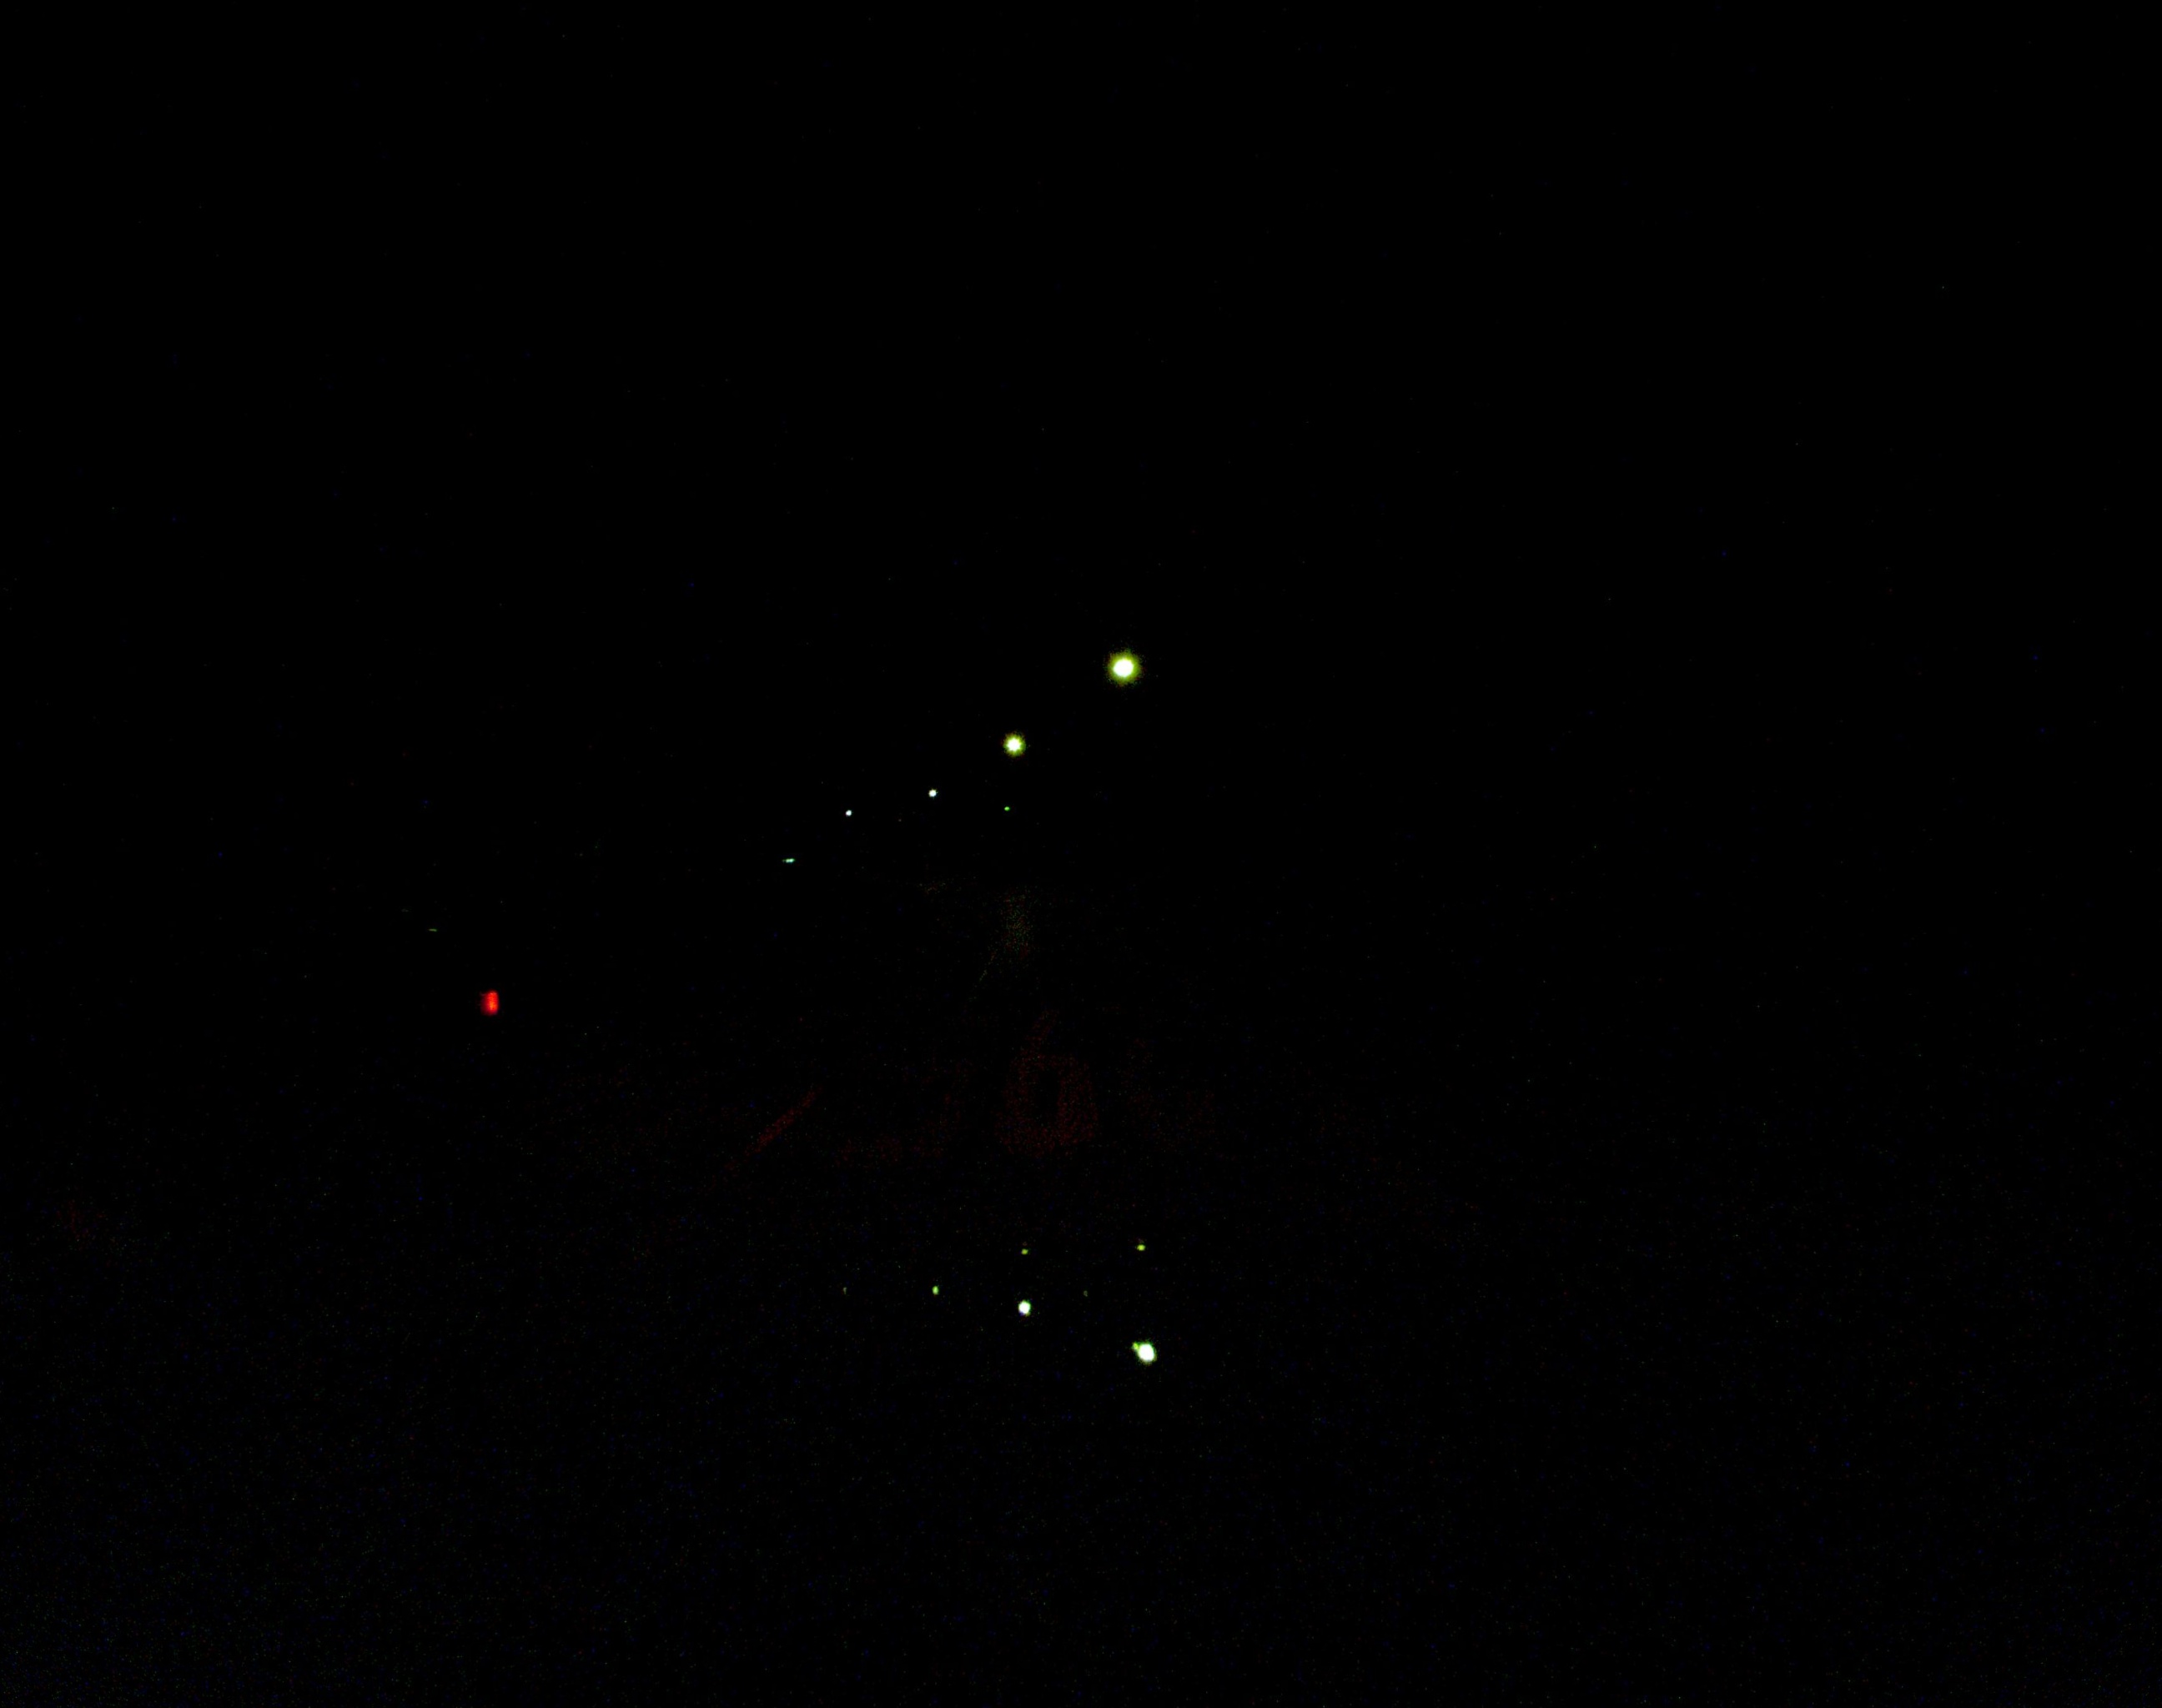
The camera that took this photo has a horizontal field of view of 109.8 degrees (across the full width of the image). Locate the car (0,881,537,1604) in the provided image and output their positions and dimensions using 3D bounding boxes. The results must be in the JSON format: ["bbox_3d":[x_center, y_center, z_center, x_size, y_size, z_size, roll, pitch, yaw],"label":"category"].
[{"bbox_3d":[-3.371,0.975,1.405,1.674,1.601,4.228,-2,1,-1],"label":"car"}]
